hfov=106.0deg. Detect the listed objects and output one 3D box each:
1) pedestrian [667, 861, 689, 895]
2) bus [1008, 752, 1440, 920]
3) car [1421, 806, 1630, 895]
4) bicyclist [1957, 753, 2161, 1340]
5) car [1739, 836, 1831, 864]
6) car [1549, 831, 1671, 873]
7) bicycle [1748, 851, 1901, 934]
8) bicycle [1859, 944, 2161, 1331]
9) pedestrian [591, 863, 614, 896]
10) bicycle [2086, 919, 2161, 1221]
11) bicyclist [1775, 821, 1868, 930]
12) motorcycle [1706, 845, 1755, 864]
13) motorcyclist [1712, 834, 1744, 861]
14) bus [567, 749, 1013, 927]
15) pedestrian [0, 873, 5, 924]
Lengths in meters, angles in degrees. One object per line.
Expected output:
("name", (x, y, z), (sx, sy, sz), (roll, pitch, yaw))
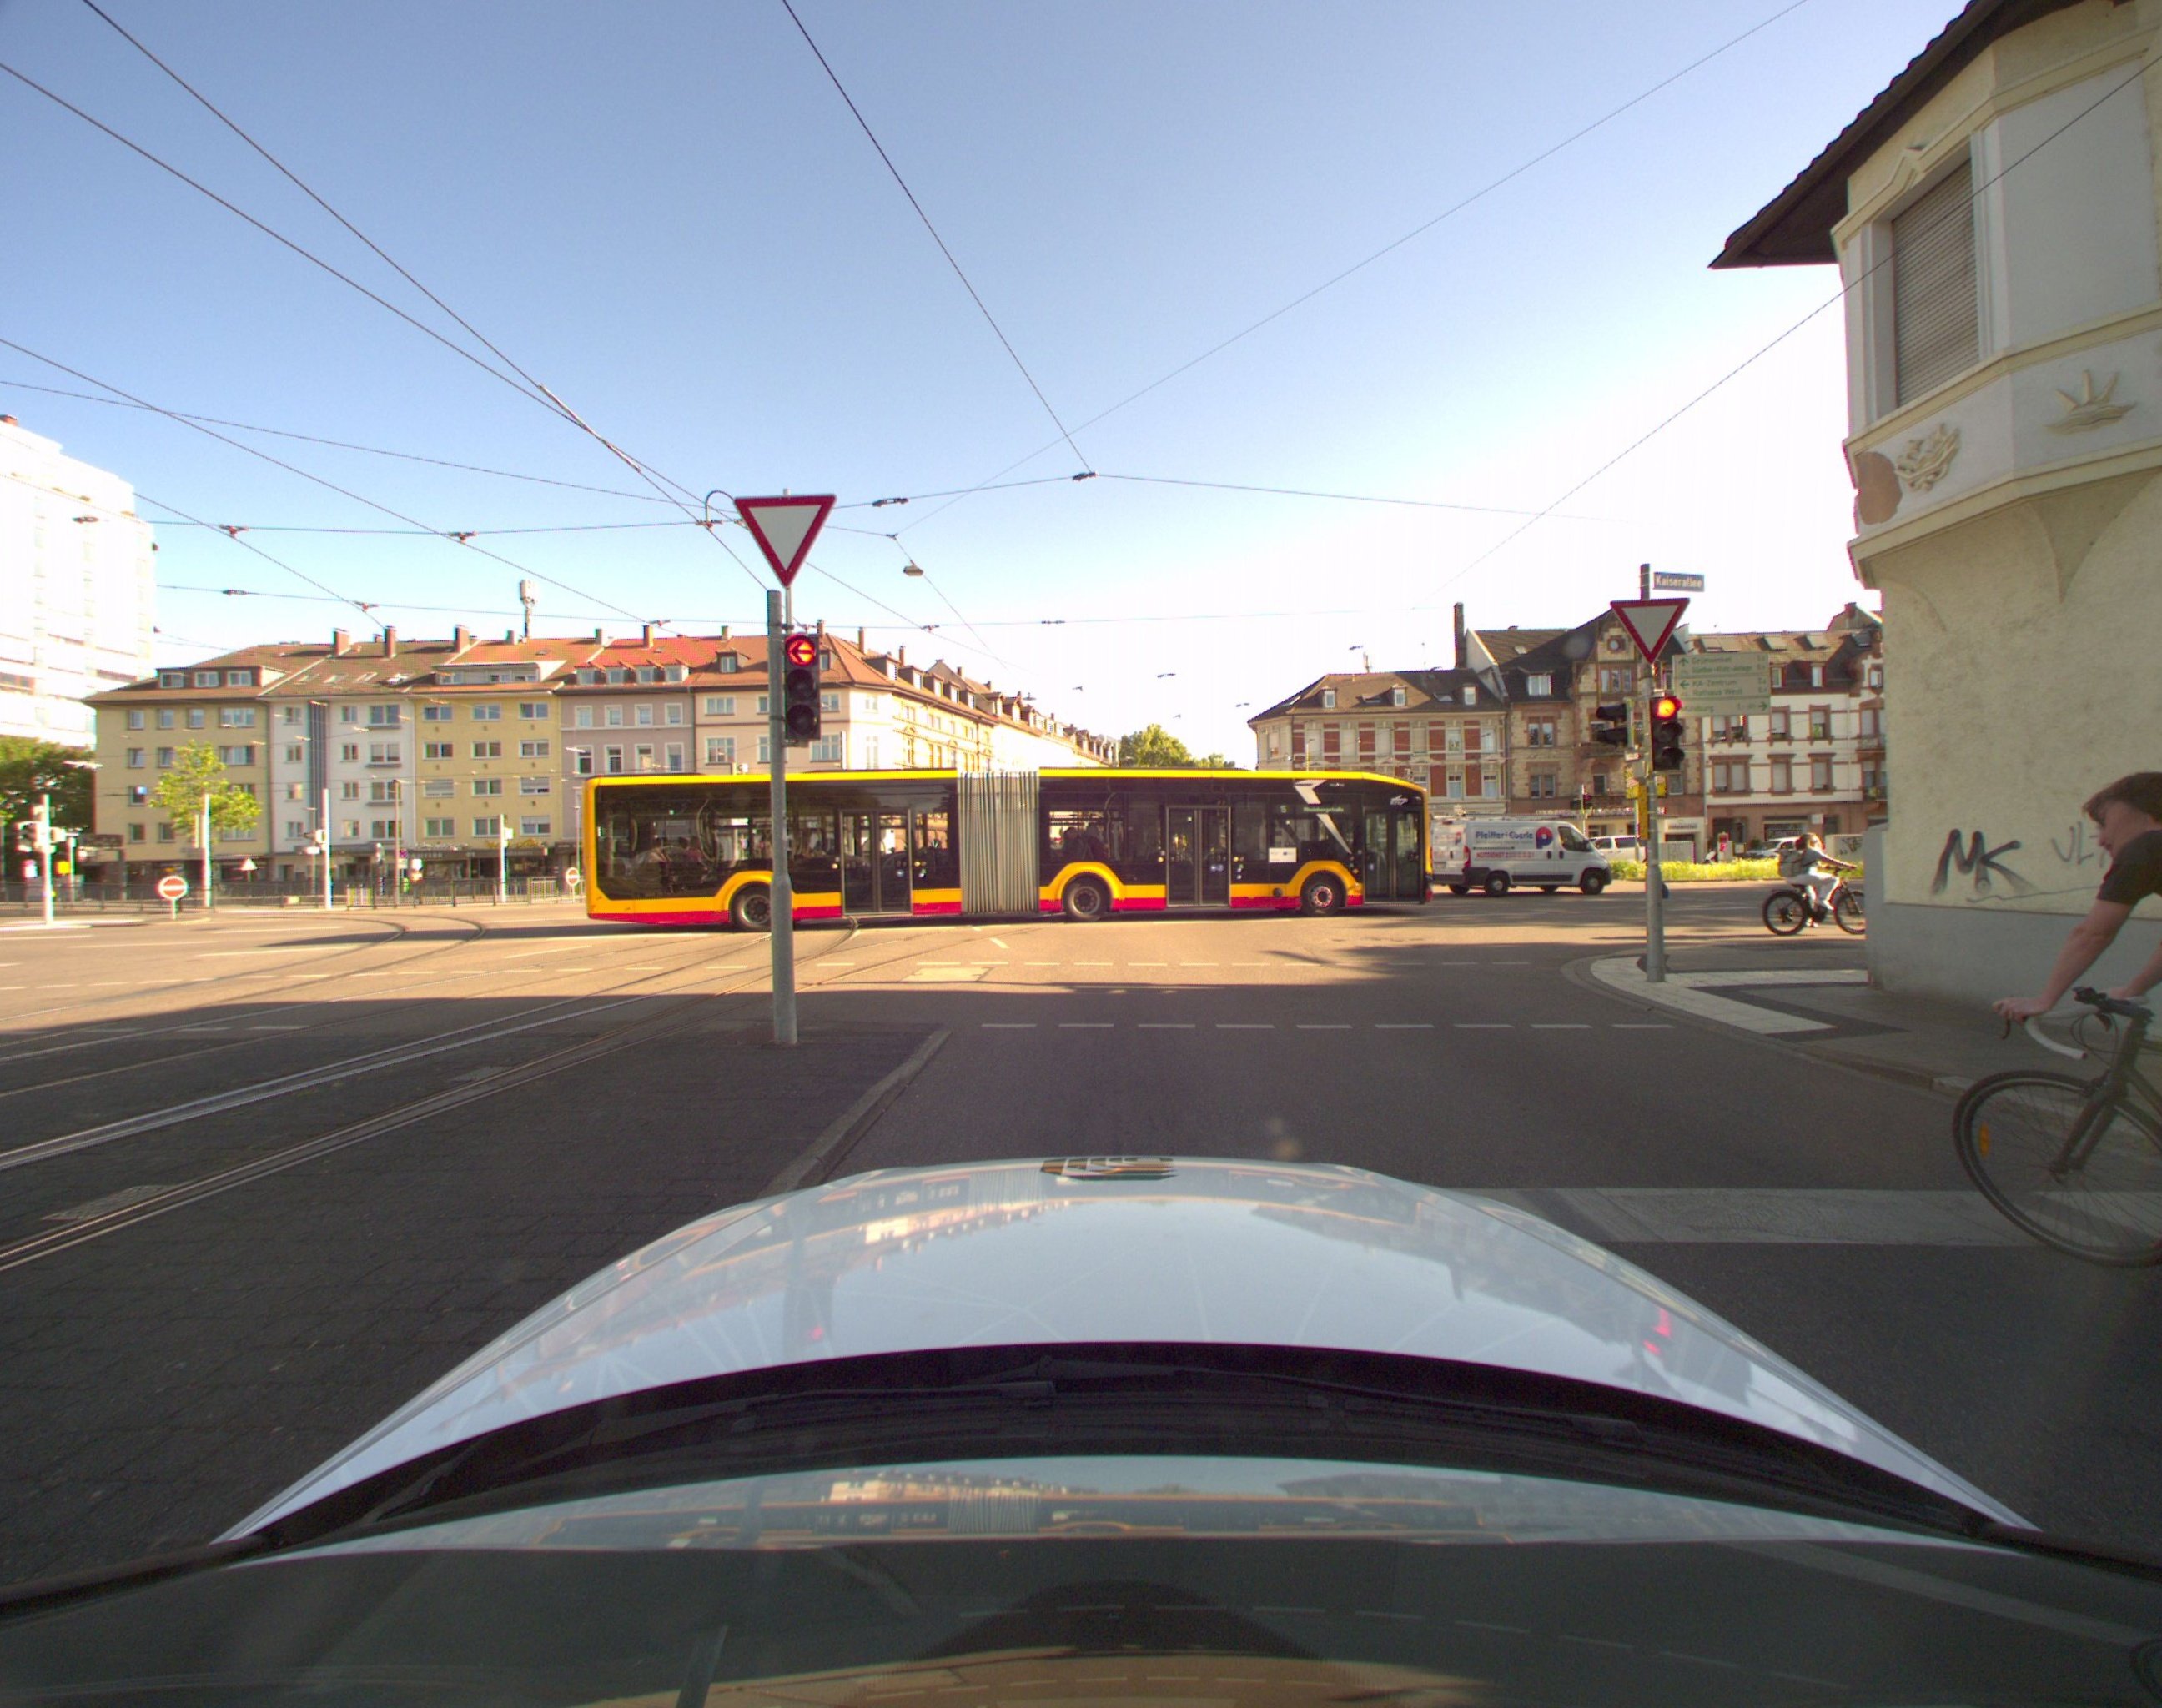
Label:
("pedestrian", (-20.543, 1.222, 41.538), (0.738, 1.682, 0.628), (-1, 0, 1))
("bus", (3.071, -0.413, 18.703), (9.400, 3.457, 2.774), (0, 1, -7))
("car", (12.961, -0.106, 23.932), (5.104, 2.432, 2.077), (-1, -1, -6))
("bicyclist", (3.562, 0.574, 2.495), (0.649, 1.767, 0.995), (-1, 0, 2))
("car", (45.298, -0.252, 52.475), (4.239, 1.622, 1.999), (-1, 0, -1))
("car", (27.129, -0.090, 41.886), (4.962, 2.013, 2.001), (-1, 0, 1))
("bicycle", (12.078, 0.606, 13.261), (1.934, 1.299, 0.623), (-1, 0, 0))
("bicycle", (3.563, 0.916, 2.497), (0.568, 1.058, 1.890), (-1, 0, 2))
("pedestrian", (-24.899, 1.306, 42.375), (0.764, 1.682, 0.628), (-1, 0, 1))
("bicycle", (4.507, 0.856, 2.483), (0.568, 1.165, 1.890), (-1, 0, 2))
("bicyclist", (12.003, 0.338, 13.223), (0.796, 1.715, 0.734), (-1, 0, 0))
("motorcycle", (33.196, 0.036, 41.633), (2.033, 0.897, 0.562), (-1, 0, 1))
("motorcyclist", (33.090, -0.326, 41.656), (0.999, 1.355, 0.744), (-1, 0, 2))
("bus", (-5.816, -0.356, 17.669), (8.603, 3.457, 2.781), (0, 1, -6))
("pedestrian", (-34.929, 1.439, 25.732), (0.770, 1.611, 0.794), (-1, 0, -5))
